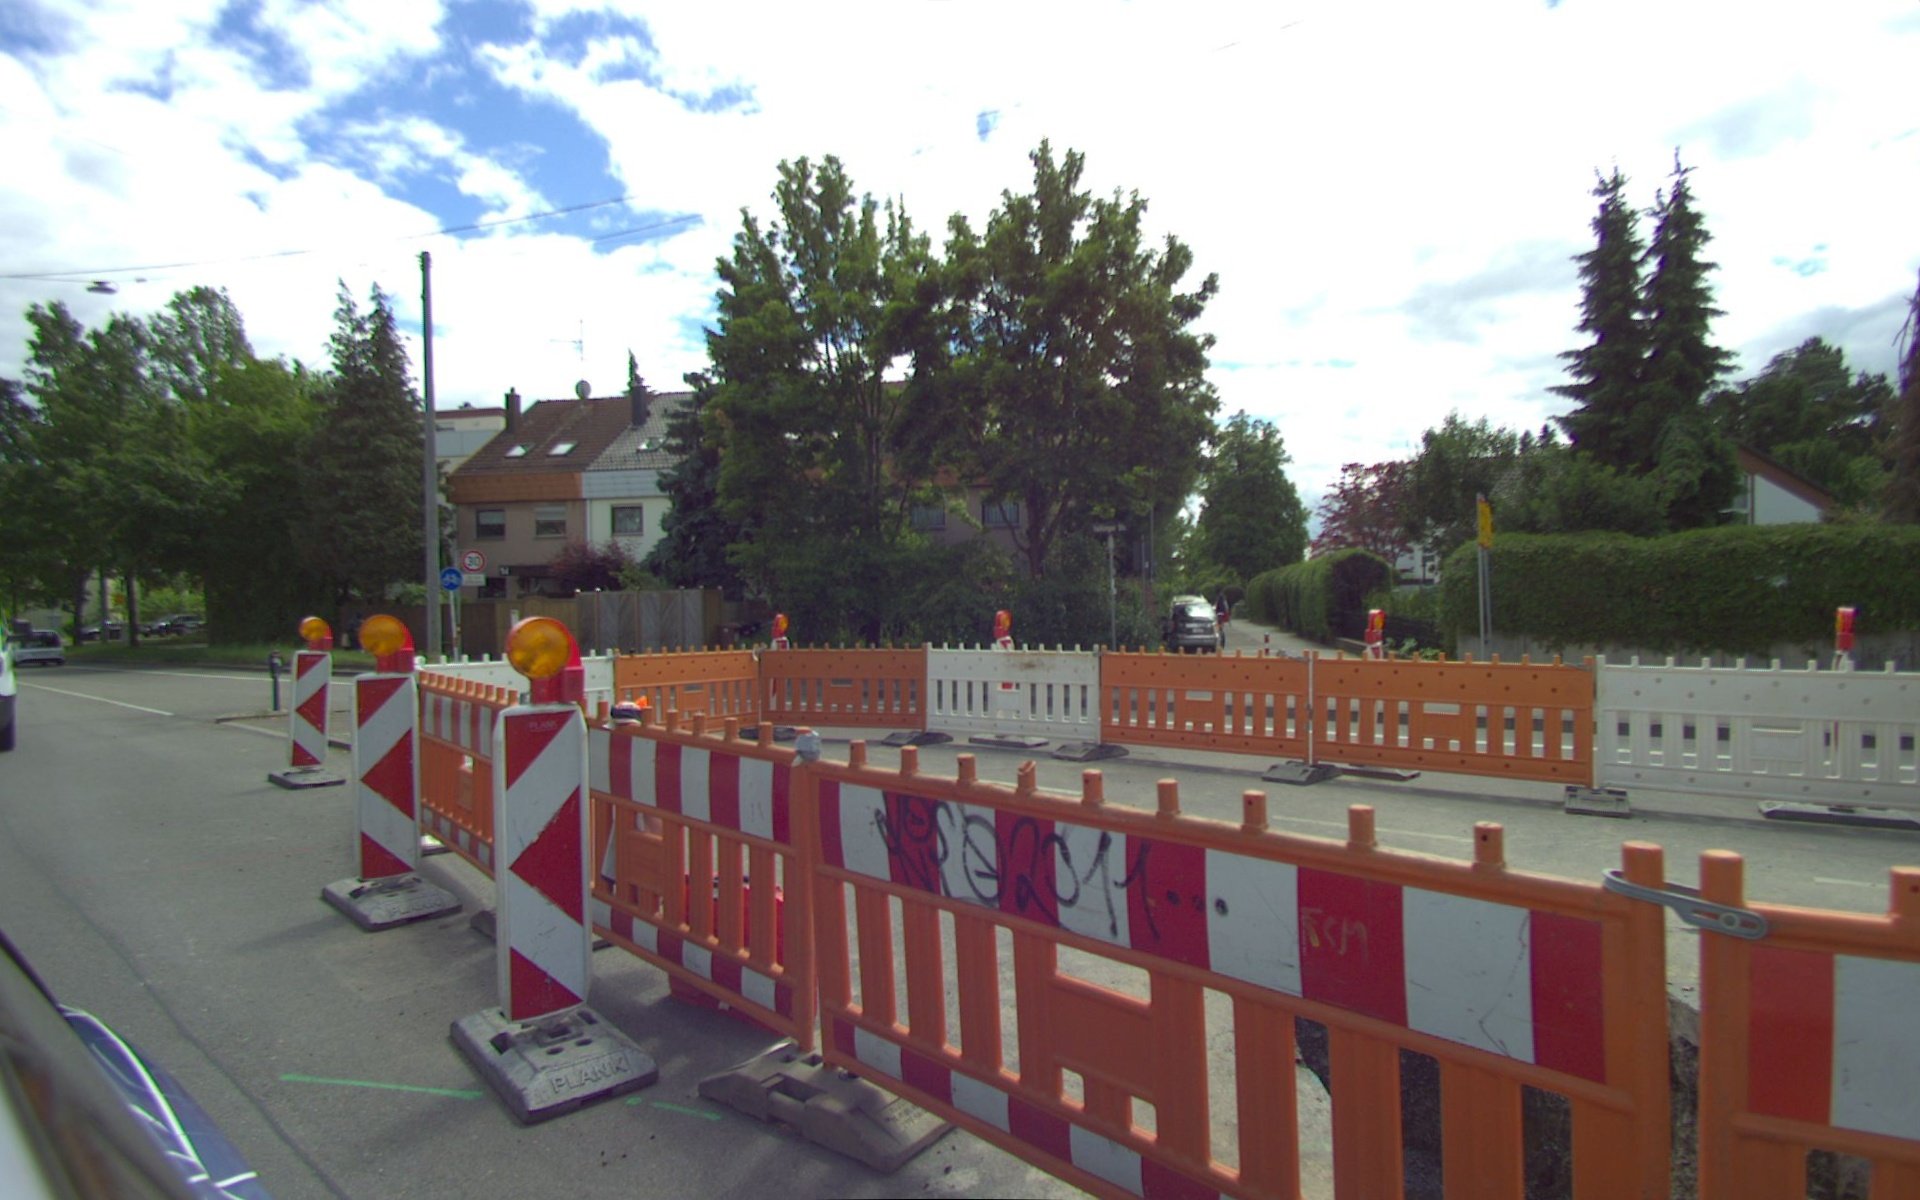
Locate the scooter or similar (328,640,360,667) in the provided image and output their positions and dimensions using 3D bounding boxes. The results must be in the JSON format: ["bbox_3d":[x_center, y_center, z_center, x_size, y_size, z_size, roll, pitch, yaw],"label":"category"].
[{"bbox_3d":[-20.914,1.798,34.352,1.029,0.871,0.629,-2,-1,41],"label":"scooter or similar"}]

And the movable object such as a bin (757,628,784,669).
[{"bbox_3d":[-4.662,1.197,24.942,0.544,0.985,0.369,-1,-2,25],"label":"movable object such as a bin"}]

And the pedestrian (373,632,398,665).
[{"bbox_3d":[-19.733,1.661,34.760,0.641,1.094,0.549,-2,-1,40],"label":"pedestrian"}]

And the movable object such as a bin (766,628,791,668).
[{"bbox_3d":[-4.540,1.203,25.292,0.523,0.985,0.331,-1,-2,25],"label":"movable object such as a bin"}]

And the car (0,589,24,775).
[{"bbox_3d":[-13.030,0.939,12.260,5.512,2.029,1.972,-1,1,42],"label":"car"}]

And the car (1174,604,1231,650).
[{"bbox_3d":[8.681,0.970,36.477,1.871,1.545,3.984,-1,-1,12],"label":"car"}]

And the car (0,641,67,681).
[{"bbox_3d":[-37.679,2.424,40.871,3.993,1.524,1.678,-2,-2,37],"label":"car"}]

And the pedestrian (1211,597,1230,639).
[{"bbox_3d":[10.947,0.745,42.593,0.701,1.741,0.669,-1,-2,19],"label":"pedestrian"}]

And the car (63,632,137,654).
[{"bbox_3d":[-65.631,3.258,77.312,1.979,1.519,3.985,-2,0,12],"label":"car"}]

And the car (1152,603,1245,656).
[{"bbox_3d":[7.502,0.894,31.562,1.882,1.545,3.962,-1,-1,27],"label":"car"}]

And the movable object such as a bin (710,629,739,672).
[{"bbox_3d":[-5.748,1.223,24.700,0.494,1.019,0.471,-2,-2,37],"label":"movable object such as a bin"}]

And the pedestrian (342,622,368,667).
[{"bbox_3d":[-20.231,1.487,33.866,0.641,1.492,0.549,-2,-1,40],"label":"pedestrian"}]

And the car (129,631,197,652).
[{"bbox_3d":[-64.701,3.355,82.233,1.981,1.519,3.982,-2,0,14],"label":"car"}]
